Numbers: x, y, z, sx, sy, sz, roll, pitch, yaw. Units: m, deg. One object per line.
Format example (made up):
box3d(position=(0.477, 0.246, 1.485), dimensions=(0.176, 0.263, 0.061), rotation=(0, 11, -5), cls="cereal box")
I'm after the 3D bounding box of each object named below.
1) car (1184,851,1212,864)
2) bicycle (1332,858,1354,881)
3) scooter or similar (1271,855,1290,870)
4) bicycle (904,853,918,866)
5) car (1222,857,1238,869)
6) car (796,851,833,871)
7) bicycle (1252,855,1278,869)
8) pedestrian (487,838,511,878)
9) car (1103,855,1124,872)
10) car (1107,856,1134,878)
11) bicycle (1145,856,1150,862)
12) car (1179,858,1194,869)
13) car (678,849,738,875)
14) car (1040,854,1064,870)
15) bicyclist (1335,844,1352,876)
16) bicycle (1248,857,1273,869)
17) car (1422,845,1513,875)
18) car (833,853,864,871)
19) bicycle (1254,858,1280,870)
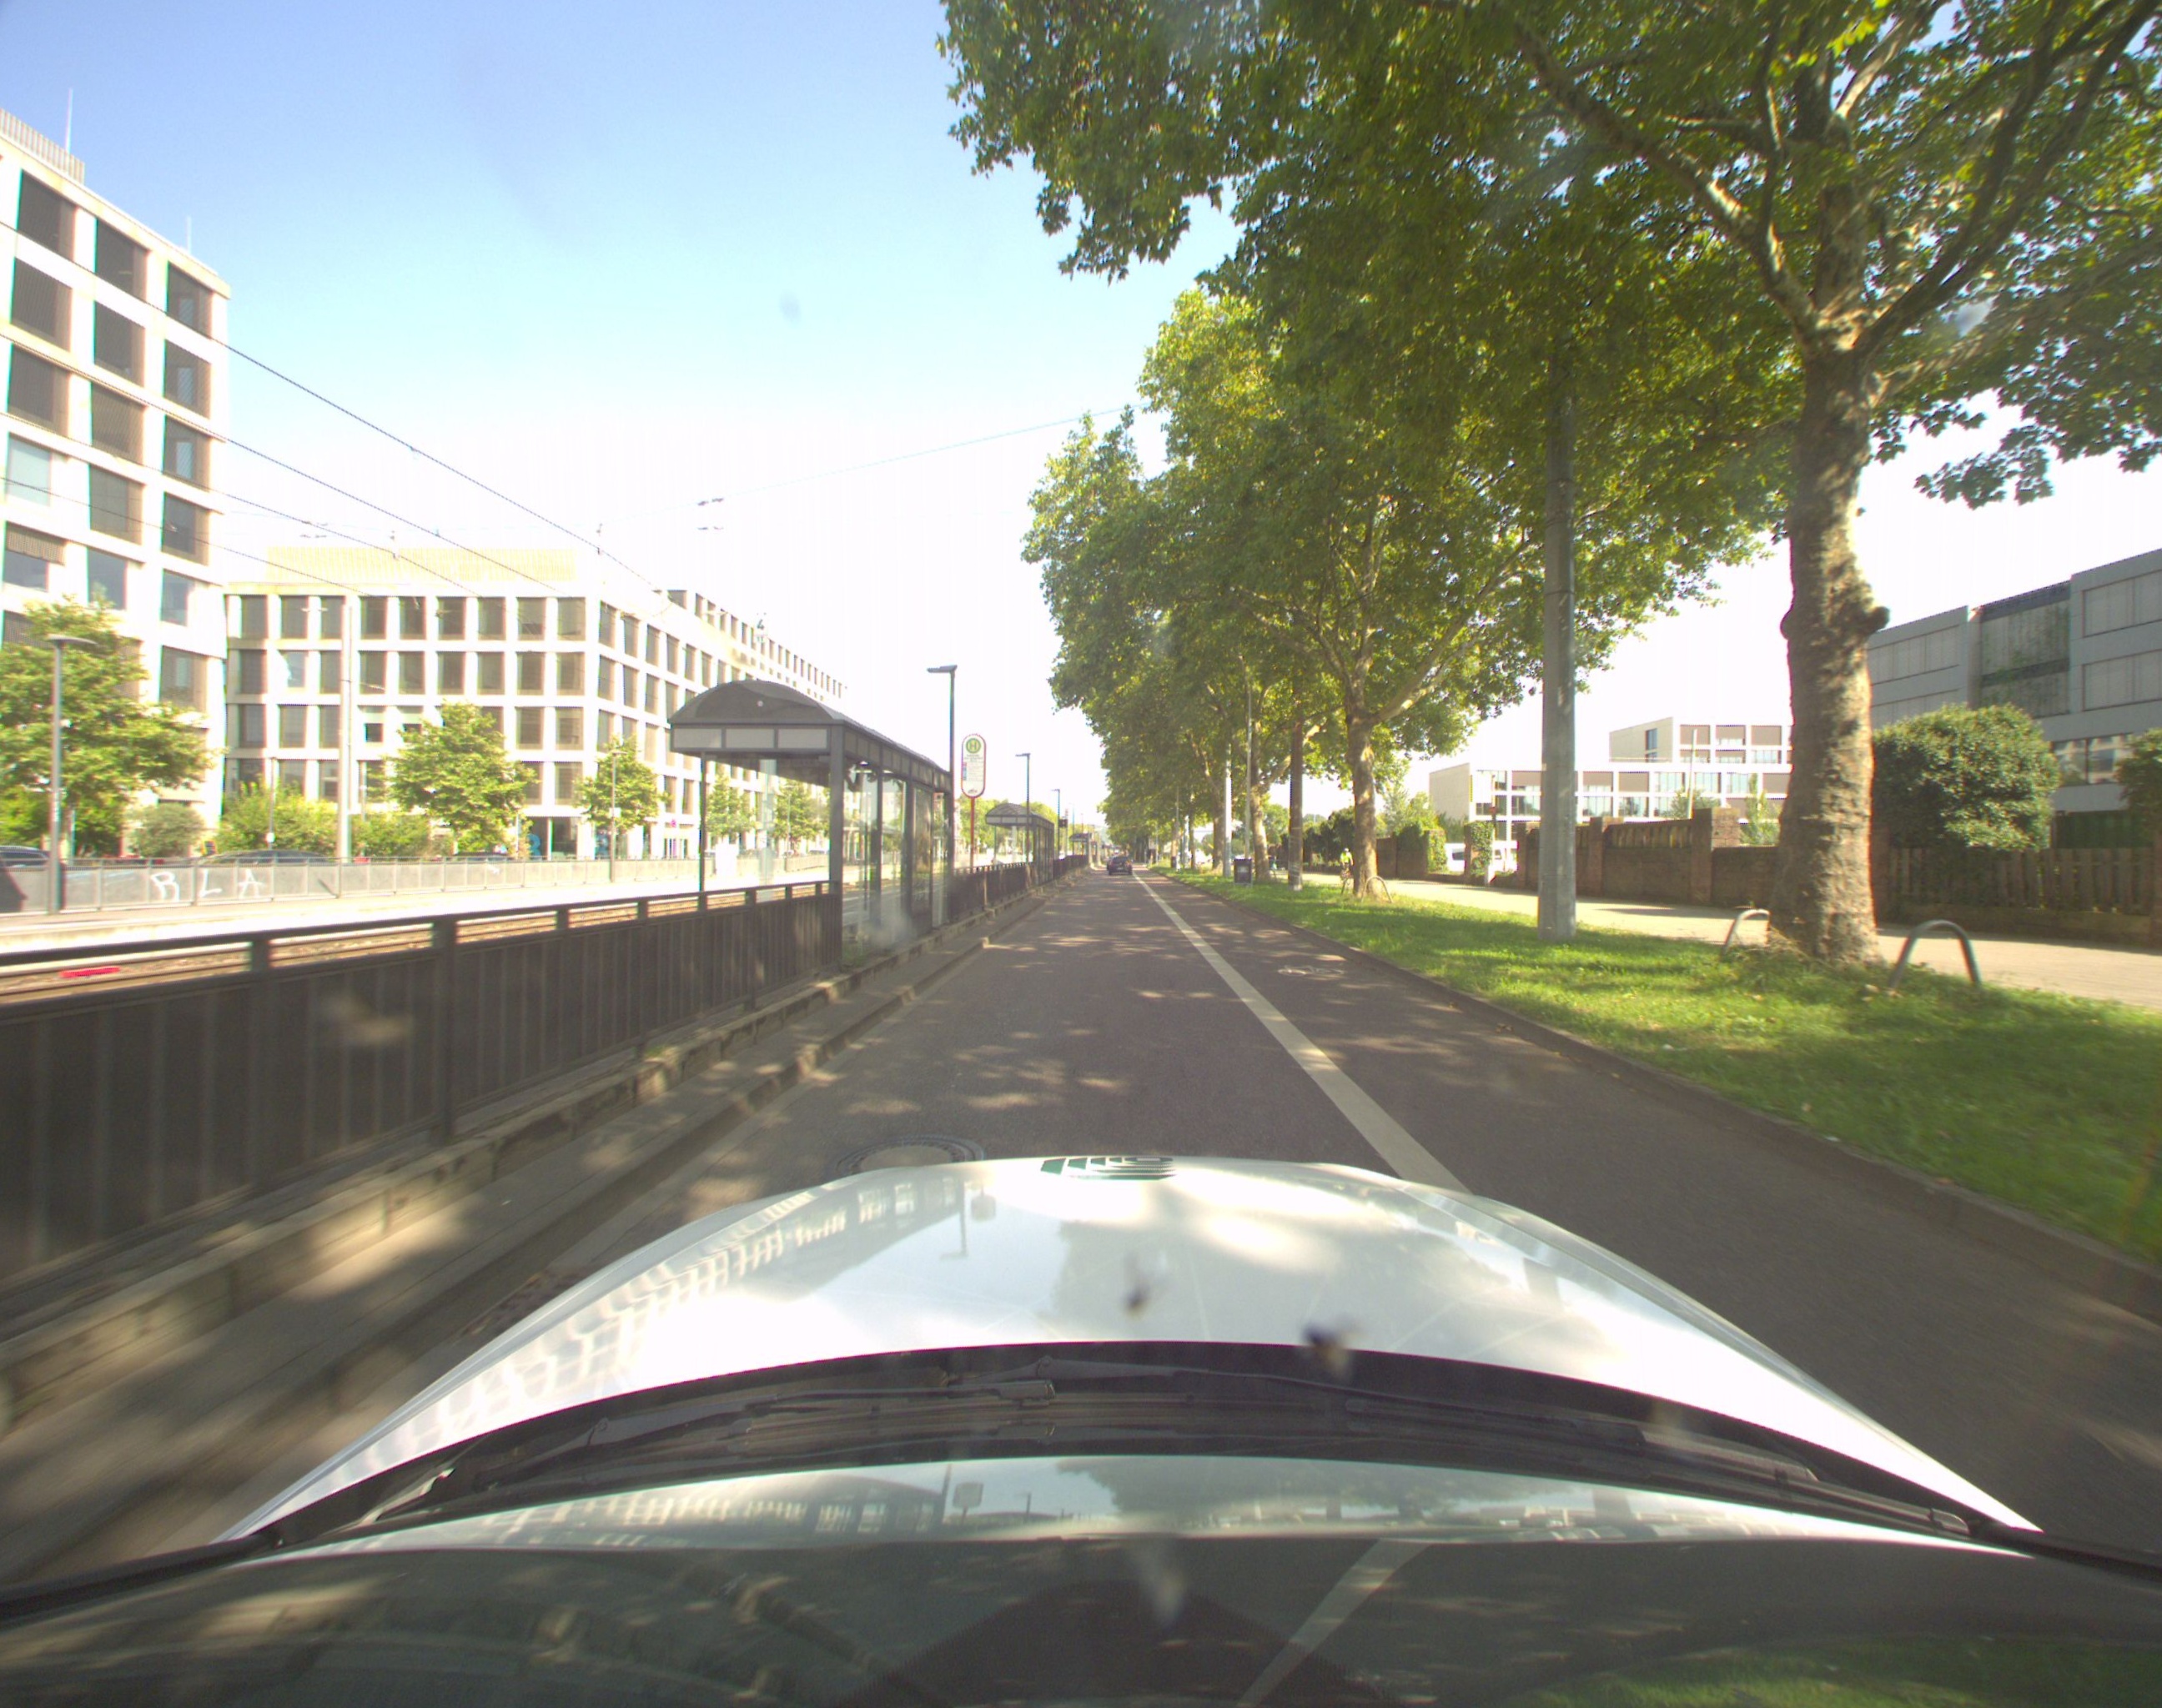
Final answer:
box3d(position=(17.954, 0.528, 125.029), dimensions=(4.084, 1.918, 1.850), rotation=(-1, 0, 5), cls="car")
box3d(position=(12.072, 0.704, 37.529), dimensions=(0.546, 1.007, 1.714), rotation=(0, 0, 3), cls="bicycle")
box3d(position=(16.695, 0.715, 68.212), dimensions=(1.498, 1.191, 0.539), rotation=(-1, -1, 6), cls="scooter or similar")
box3d(position=(-14.390, 0.459, 68.848), dimensions=(0.467, 1.147, 1.490), rotation=(0, -1, 17), cls="bicycle")
box3d(position=(20.618, 1.182, 112.781), dimensions=(1.601, 1.575, 3.799), rotation=(-1, 0, 3), cls="car")
box3d(position=(-22.988, 0.607, 70.475), dimensions=(1.757, 1.603, 4.133), rotation=(-1, 0, 1), cls="car")
box3d(position=(17.364, 0.761, 77.030), dimensions=(2.236, 1.277, 0.999), rotation=(-2, -2, 1), cls="bicycle")
box3d(position=(-30.203, 0.228, 42.275), dimensions=(0.561, 2.014, 0.823), rotation=(-3, -2, 2), cls="pedestrian")
box3d(position=(3.201, 0.955, 81.154), dimensions=(1.966, 1.537, 4.001), rotation=(-3, 0, 1), cls="car")
box3d(position=(2.957, 0.957, 61.707), dimensions=(1.900, 1.537, 4.002), rotation=(-1, 0, 2), cls="car")
box3d(position=(11.561, 0.822, 140.759), dimensions=(0.608, 1.022, 2.401), rotation=(0, 0, -1), cls="bicycle")
box3d(position=(14.489, 1.328, 111.783), dimensions=(1.721, 1.448, 4.554), rotation=(-1, 0, 3), cls="car")
box3d(position=(-23.248, 0.500, 50.934), dimensions=(1.757, 1.574, 4.133), rotation=(-1, 0, 1), cls="car")
box3d(position=(-2.830, 0.764, 81.133), dimensions=(1.985, 1.559, 4.003), rotation=(0, 0, 3), cls="car")
box3d(position=(12.074, 0.277, 37.520), dimensions=(0.546, 1.453, 0.842), rotation=(0, 0, 3), cls="bicyclist")
box3d(position=(16.612, 0.823, 75.591), dimensions=(2.162, 1.076, 0.744), rotation=(-2, -1, 5), cls="bicycle")
box3d(position=(22.659, 0.340, 47.865), dimensions=(4.506, 1.734, 1.909), rotation=(0, 0, 0), cls="car")
box3d(position=(-22.332, 0.767, 78.421), dimensions=(1.757, 1.603, 4.133), rotation=(-1, 0, 1), cls="car")
box3d(position=(16.576, 0.889, 72.525), dimensions=(2.166, 1.076, 0.743), rotation=(0, -1, 0), cls="bicycle")
